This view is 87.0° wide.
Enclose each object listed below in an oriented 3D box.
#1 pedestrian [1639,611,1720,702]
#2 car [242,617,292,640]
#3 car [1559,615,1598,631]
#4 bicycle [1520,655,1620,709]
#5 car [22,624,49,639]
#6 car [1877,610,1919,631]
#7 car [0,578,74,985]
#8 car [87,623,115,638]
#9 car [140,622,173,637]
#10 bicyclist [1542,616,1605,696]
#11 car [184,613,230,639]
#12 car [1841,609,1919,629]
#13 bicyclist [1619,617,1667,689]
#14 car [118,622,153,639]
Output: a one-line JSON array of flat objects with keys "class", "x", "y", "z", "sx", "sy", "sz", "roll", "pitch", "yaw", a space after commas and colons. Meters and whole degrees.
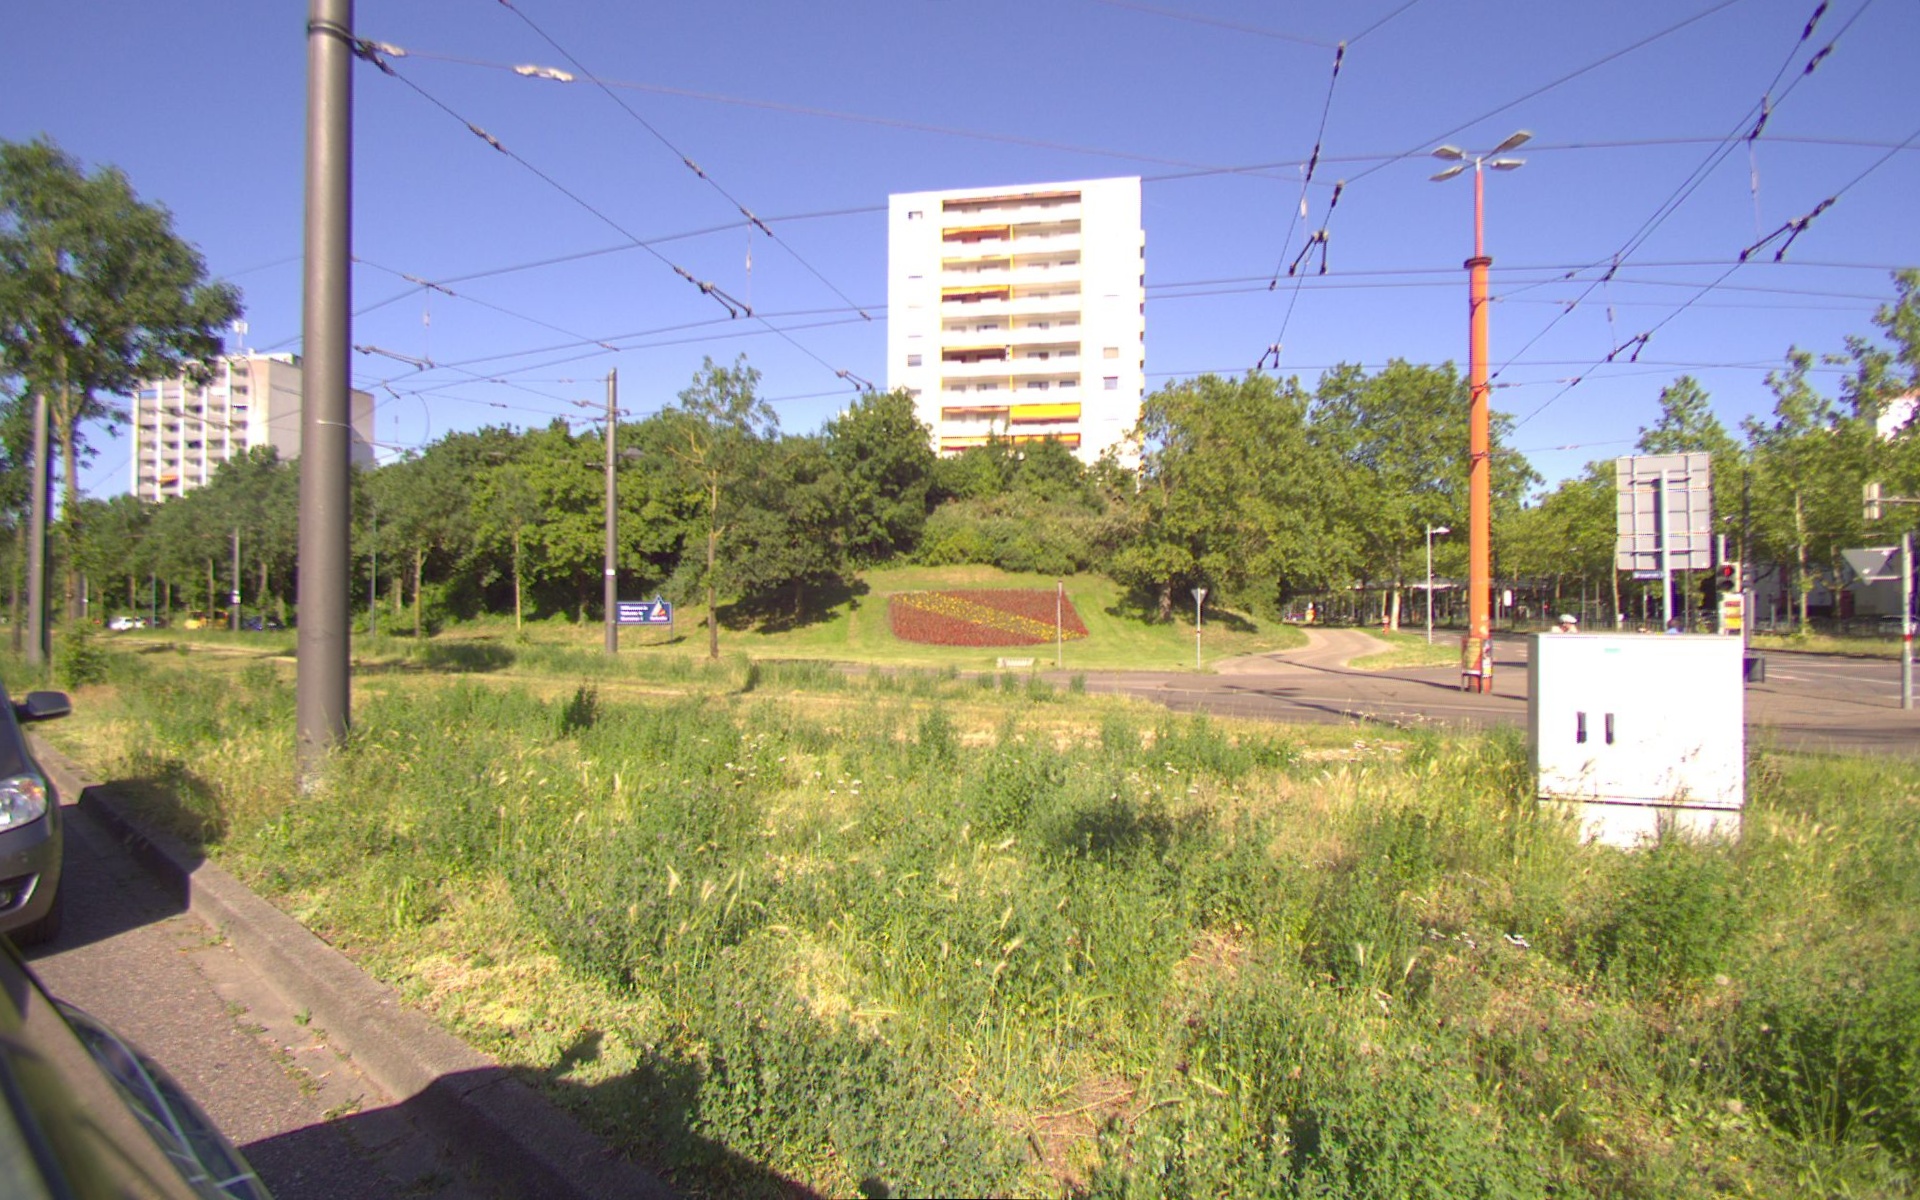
[{"class": "pedestrian", "x": 14.691, "y": 1.142, "z": 20.695, "sx": 0.943, "sy": 1.807, "sz": 0.986, "roll": 0, "pitch": -1, "yaw": 7}, {"class": "car", "x": -49.086, "y": 1.988, "z": 71.628, "sx": 4.105, "sy": 1.586, "sz": 1.973, "roll": -1, "pitch": -2, "yaw": 41}, {"class": "car", "x": 79.733, "y": 2.997, "z": 130.485, "sx": 3.969, "sy": 2.029, "sz": 1.987, "roll": -1, "pitch": -1, "yaw": 20}, {"class": "bicycle", "x": 12.193, "y": 1.618, "z": 20.284, "sx": 0.673, "sy": 0.968, "sz": 1.650, "roll": 0, "pitch": -1, "yaw": -20}, {"class": "car", "x": -92.619, "y": 3.147, "z": 101.354, "sx": 4.311, "sy": 1.427, "sz": 1.774, "roll": -1, "pitch": -2, "yaw": 44}, {"class": "car", "x": 64.889, "y": 1.402, "z": 68.403, "sx": 1.770, "sy": 1.420, "sz": 4.010, "roll": 1, "pitch": -1, "yaw": -36}, {"class": "car", "x": -5.735, "y": 0.749, "z": 4.847, "sx": 3.879, "sy": 1.634, "sz": 1.737, "roll": -1, "pitch": -2, "yaw": 41}, {"class": "car", "x": -86.894, "y": 3.092, "z": 102.344, "sx": 4.241, "sy": 1.519, "sz": 1.768, "roll": -1, "pitch": -2, "yaw": 44}, {"class": "car", "x": -72.785, "y": 2.662, "z": 91.637, "sx": 4.000, "sy": 1.386, "sz": 1.756, "roll": -1, "pitch": -2, "yaw": 43}, {"class": "bicyclist", "x": 12.297, "y": 1.107, "z": 20.294, "sx": 0.719, "sy": 1.557, "sz": 0.770, "roll": 0, "pitch": -2, "yaw": -20}, {"class": "car", "x": -59.892, "y": 2.086, "z": 80.445, "sx": 4.905, "sy": 1.981, "sz": 1.973, "roll": -1, "pitch": -2, "yaw": 41}, {"class": "car", "x": 65.878, "y": 1.380, "z": 72.385, "sx": 1.770, "sy": 1.420, "sz": 4.010, "roll": 1, "pitch": -1, "yaw": -36}, {"class": "bicyclist", "x": 13.363, "y": 1.027, "z": 19.812, "sx": 0.435, "sy": 1.391, "sz": 0.631, "roll": 0, "pitch": -2, "yaw": -20}, {"class": "car", "x": -68.737, "y": 2.537, "z": 84.338, "sx": 4.020, "sy": 1.418, "sz": 1.671, "roll": -2, "pitch": -2, "yaw": 42}]
